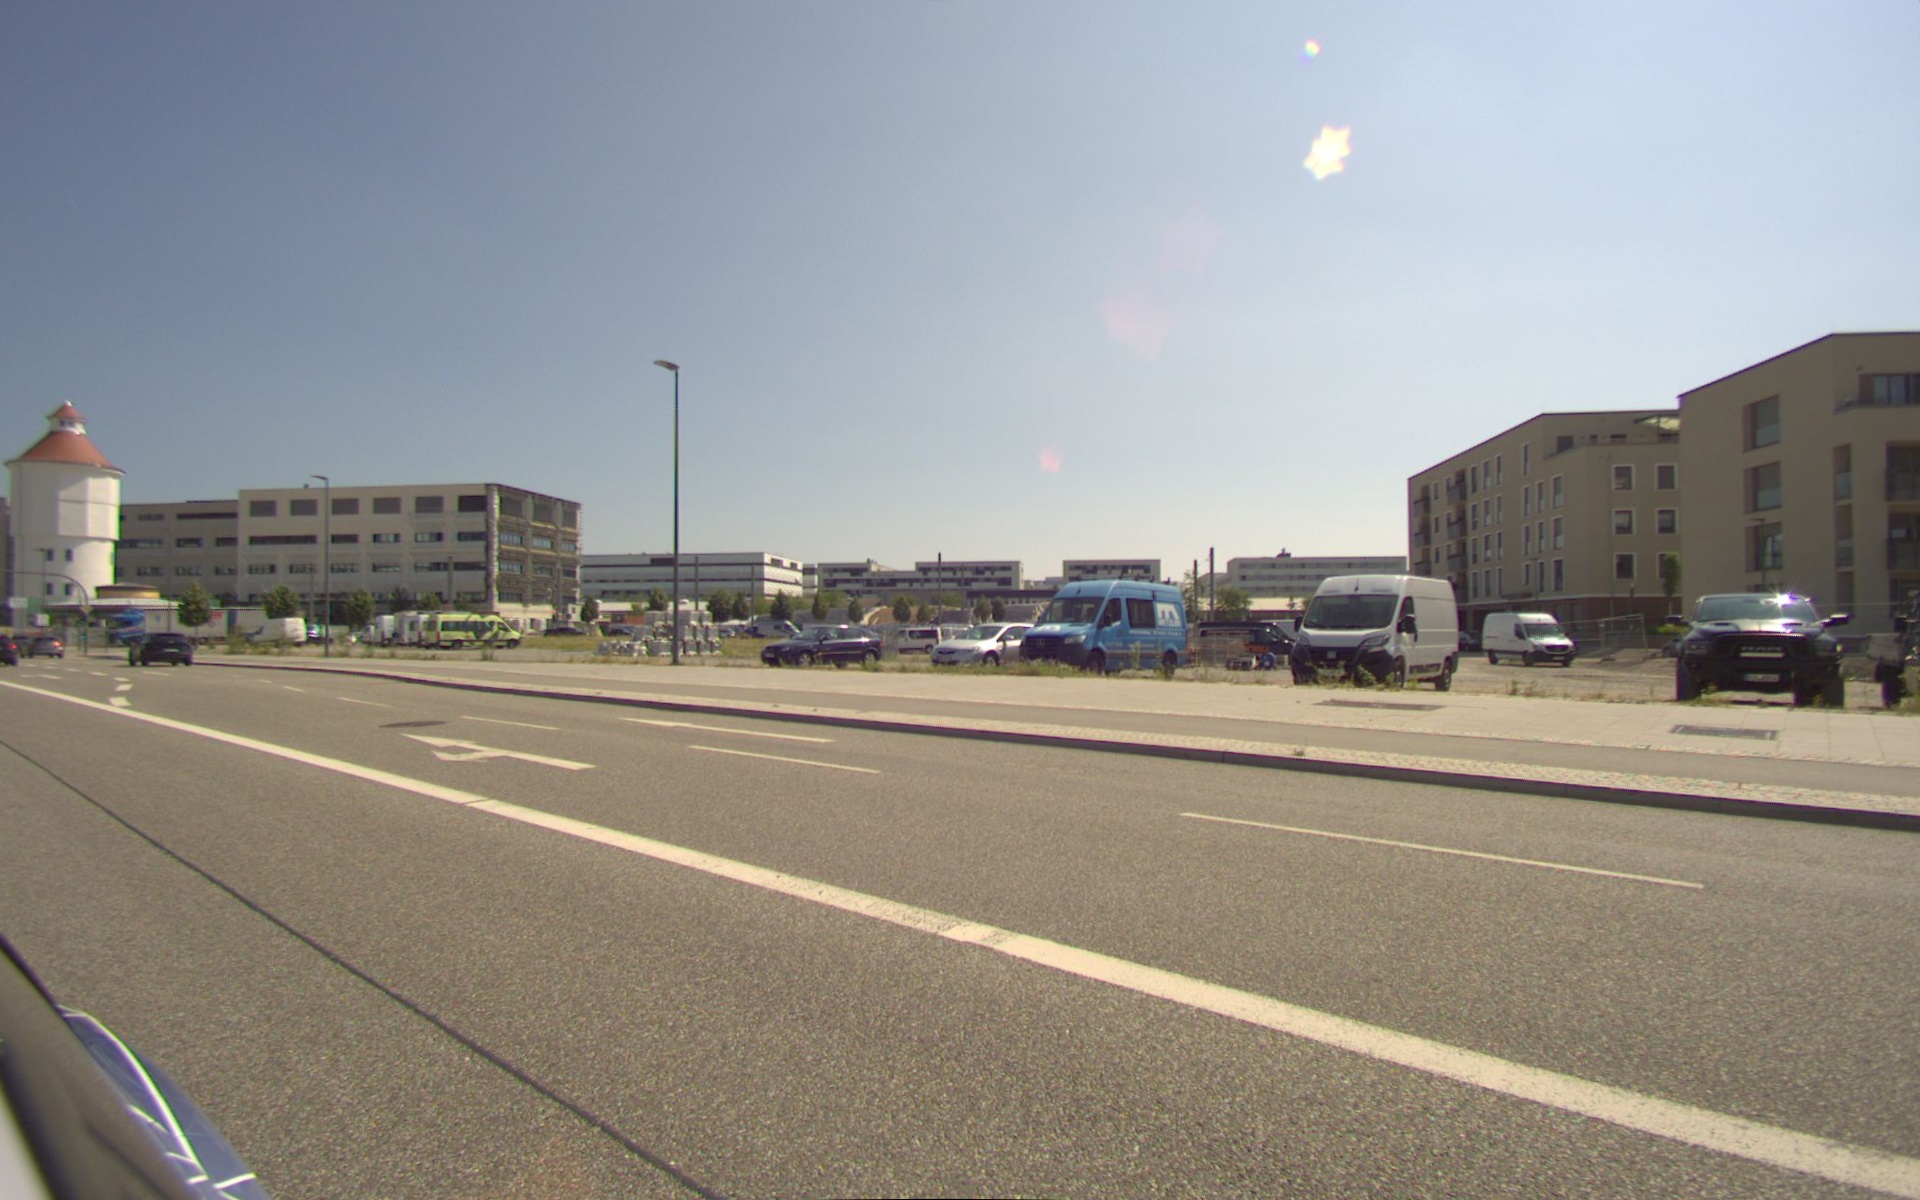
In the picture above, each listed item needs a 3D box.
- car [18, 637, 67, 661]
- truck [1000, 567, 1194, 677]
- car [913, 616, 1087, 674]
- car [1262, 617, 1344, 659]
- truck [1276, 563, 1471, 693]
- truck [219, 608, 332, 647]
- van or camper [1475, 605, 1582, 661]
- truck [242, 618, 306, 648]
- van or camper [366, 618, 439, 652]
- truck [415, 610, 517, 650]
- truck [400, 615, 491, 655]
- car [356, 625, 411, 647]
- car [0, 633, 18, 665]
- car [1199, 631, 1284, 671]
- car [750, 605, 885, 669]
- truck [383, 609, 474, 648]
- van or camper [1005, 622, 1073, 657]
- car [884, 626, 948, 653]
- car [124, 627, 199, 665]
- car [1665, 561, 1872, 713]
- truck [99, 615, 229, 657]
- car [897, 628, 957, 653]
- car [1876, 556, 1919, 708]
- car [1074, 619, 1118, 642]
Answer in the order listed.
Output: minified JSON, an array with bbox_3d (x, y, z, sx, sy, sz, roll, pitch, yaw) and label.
[{"bbox_3d":[-61.978,3.283,68.353,4.384,1.507,1.883,-2,-2,40],"label":"car"},{"bbox_3d":[3.745,0.620,26.631,2.273,2.563,5.943,-2,-3,40],"label":"truck"},{"bbox_3d":[1.272,1.246,28.997,2.104,1.485,5.595,-1,-2,38],"label":"car"},{"bbox_3d":[19.386,2.127,57.368,3.951,2.258,1.996,-1,-1,6],"label":"car"},{"bbox_3d":[8.882,0.616,21.413,2.273,2.381,5.511,-2,-3,39],"label":"truck"},{"bbox_3d":[-81.011,3.157,120.058,3.331,4.307,10.840,0,0,29],"label":"truck"},{"bbox_3d":[28.105,1.654,50.296,1.909,2.578,5.928,0,-2,0],"label":"van or camper"},{"bbox_3d":[-62.205,3.018,91.785,5.914,2.675,2.154,-1,-2,26],"label":"truck"},{"bbox_3d":[-46.821,2.891,85.081,2.258,2.682,4.849,-2,-1,41],"label":"van or camper"},{"bbox_3d":[-37.562,2.264,77.129,2.599,2.847,6.572,-2,-1,38],"label":"truck"},{"bbox_3d":[-40.036,2.673,78.926,2.568,2.846,5.776,0,1,40],"label":"truck"},{"bbox_3d":[-49.620,3.121,87.155,1.654,1.772,3.830,-2,-1,37],"label":"car"},{"bbox_3d":[-43.422,2.168,45.086,4.571,1.409,1.768,-2,-2,43],"label":"car"},{"bbox_3d":[14.206,2.580,51.221,3.959,1.863,1.992,-2,-1,12],"label":"car"},{"bbox_3d":[-4.487,1.173,32.211,3.938,1.918,1.830,2,-3,-42],"label":"car"},{"bbox_3d":[-43.274,2.238,82.485,2.570,2.923,6.080,0,1,42],"label":"truck"},{"bbox_3d":[5.923,2.941,75.724,4.880,2.301,1.994,2,-6,9],"label":"van or camper"},{"bbox_3d":[-3.326,2.992,76.942,4.601,2.029,1.994,-1,-2,9],"label":"car"},{"bbox_3d":[-36.044,2.055,45.646,4.386,1.640,1.882,-2,-3,42],"label":"car"},{"bbox_3d":[13.879,0.616,17.550,2.392,2.182,5.826,-1,-2,38],"label":"car"},{"bbox_3d":[-86.230,3.776,110.017,3.281,4.098,10.896,0,0,23],"label":"truck"},{"bbox_3d":[-2.692,3.296,82.829,4.601,1.985,1.994,-1,-2,9],"label":"car"},{"bbox_3d":[16.135,0.503,15.644,2.392,2.190,5.391,-2,-3,37],"label":"car"},{"bbox_3d":[12.502,2.821,93.191,3.952,2.029,1.996,-1,-2,7],"label":"car"}]
